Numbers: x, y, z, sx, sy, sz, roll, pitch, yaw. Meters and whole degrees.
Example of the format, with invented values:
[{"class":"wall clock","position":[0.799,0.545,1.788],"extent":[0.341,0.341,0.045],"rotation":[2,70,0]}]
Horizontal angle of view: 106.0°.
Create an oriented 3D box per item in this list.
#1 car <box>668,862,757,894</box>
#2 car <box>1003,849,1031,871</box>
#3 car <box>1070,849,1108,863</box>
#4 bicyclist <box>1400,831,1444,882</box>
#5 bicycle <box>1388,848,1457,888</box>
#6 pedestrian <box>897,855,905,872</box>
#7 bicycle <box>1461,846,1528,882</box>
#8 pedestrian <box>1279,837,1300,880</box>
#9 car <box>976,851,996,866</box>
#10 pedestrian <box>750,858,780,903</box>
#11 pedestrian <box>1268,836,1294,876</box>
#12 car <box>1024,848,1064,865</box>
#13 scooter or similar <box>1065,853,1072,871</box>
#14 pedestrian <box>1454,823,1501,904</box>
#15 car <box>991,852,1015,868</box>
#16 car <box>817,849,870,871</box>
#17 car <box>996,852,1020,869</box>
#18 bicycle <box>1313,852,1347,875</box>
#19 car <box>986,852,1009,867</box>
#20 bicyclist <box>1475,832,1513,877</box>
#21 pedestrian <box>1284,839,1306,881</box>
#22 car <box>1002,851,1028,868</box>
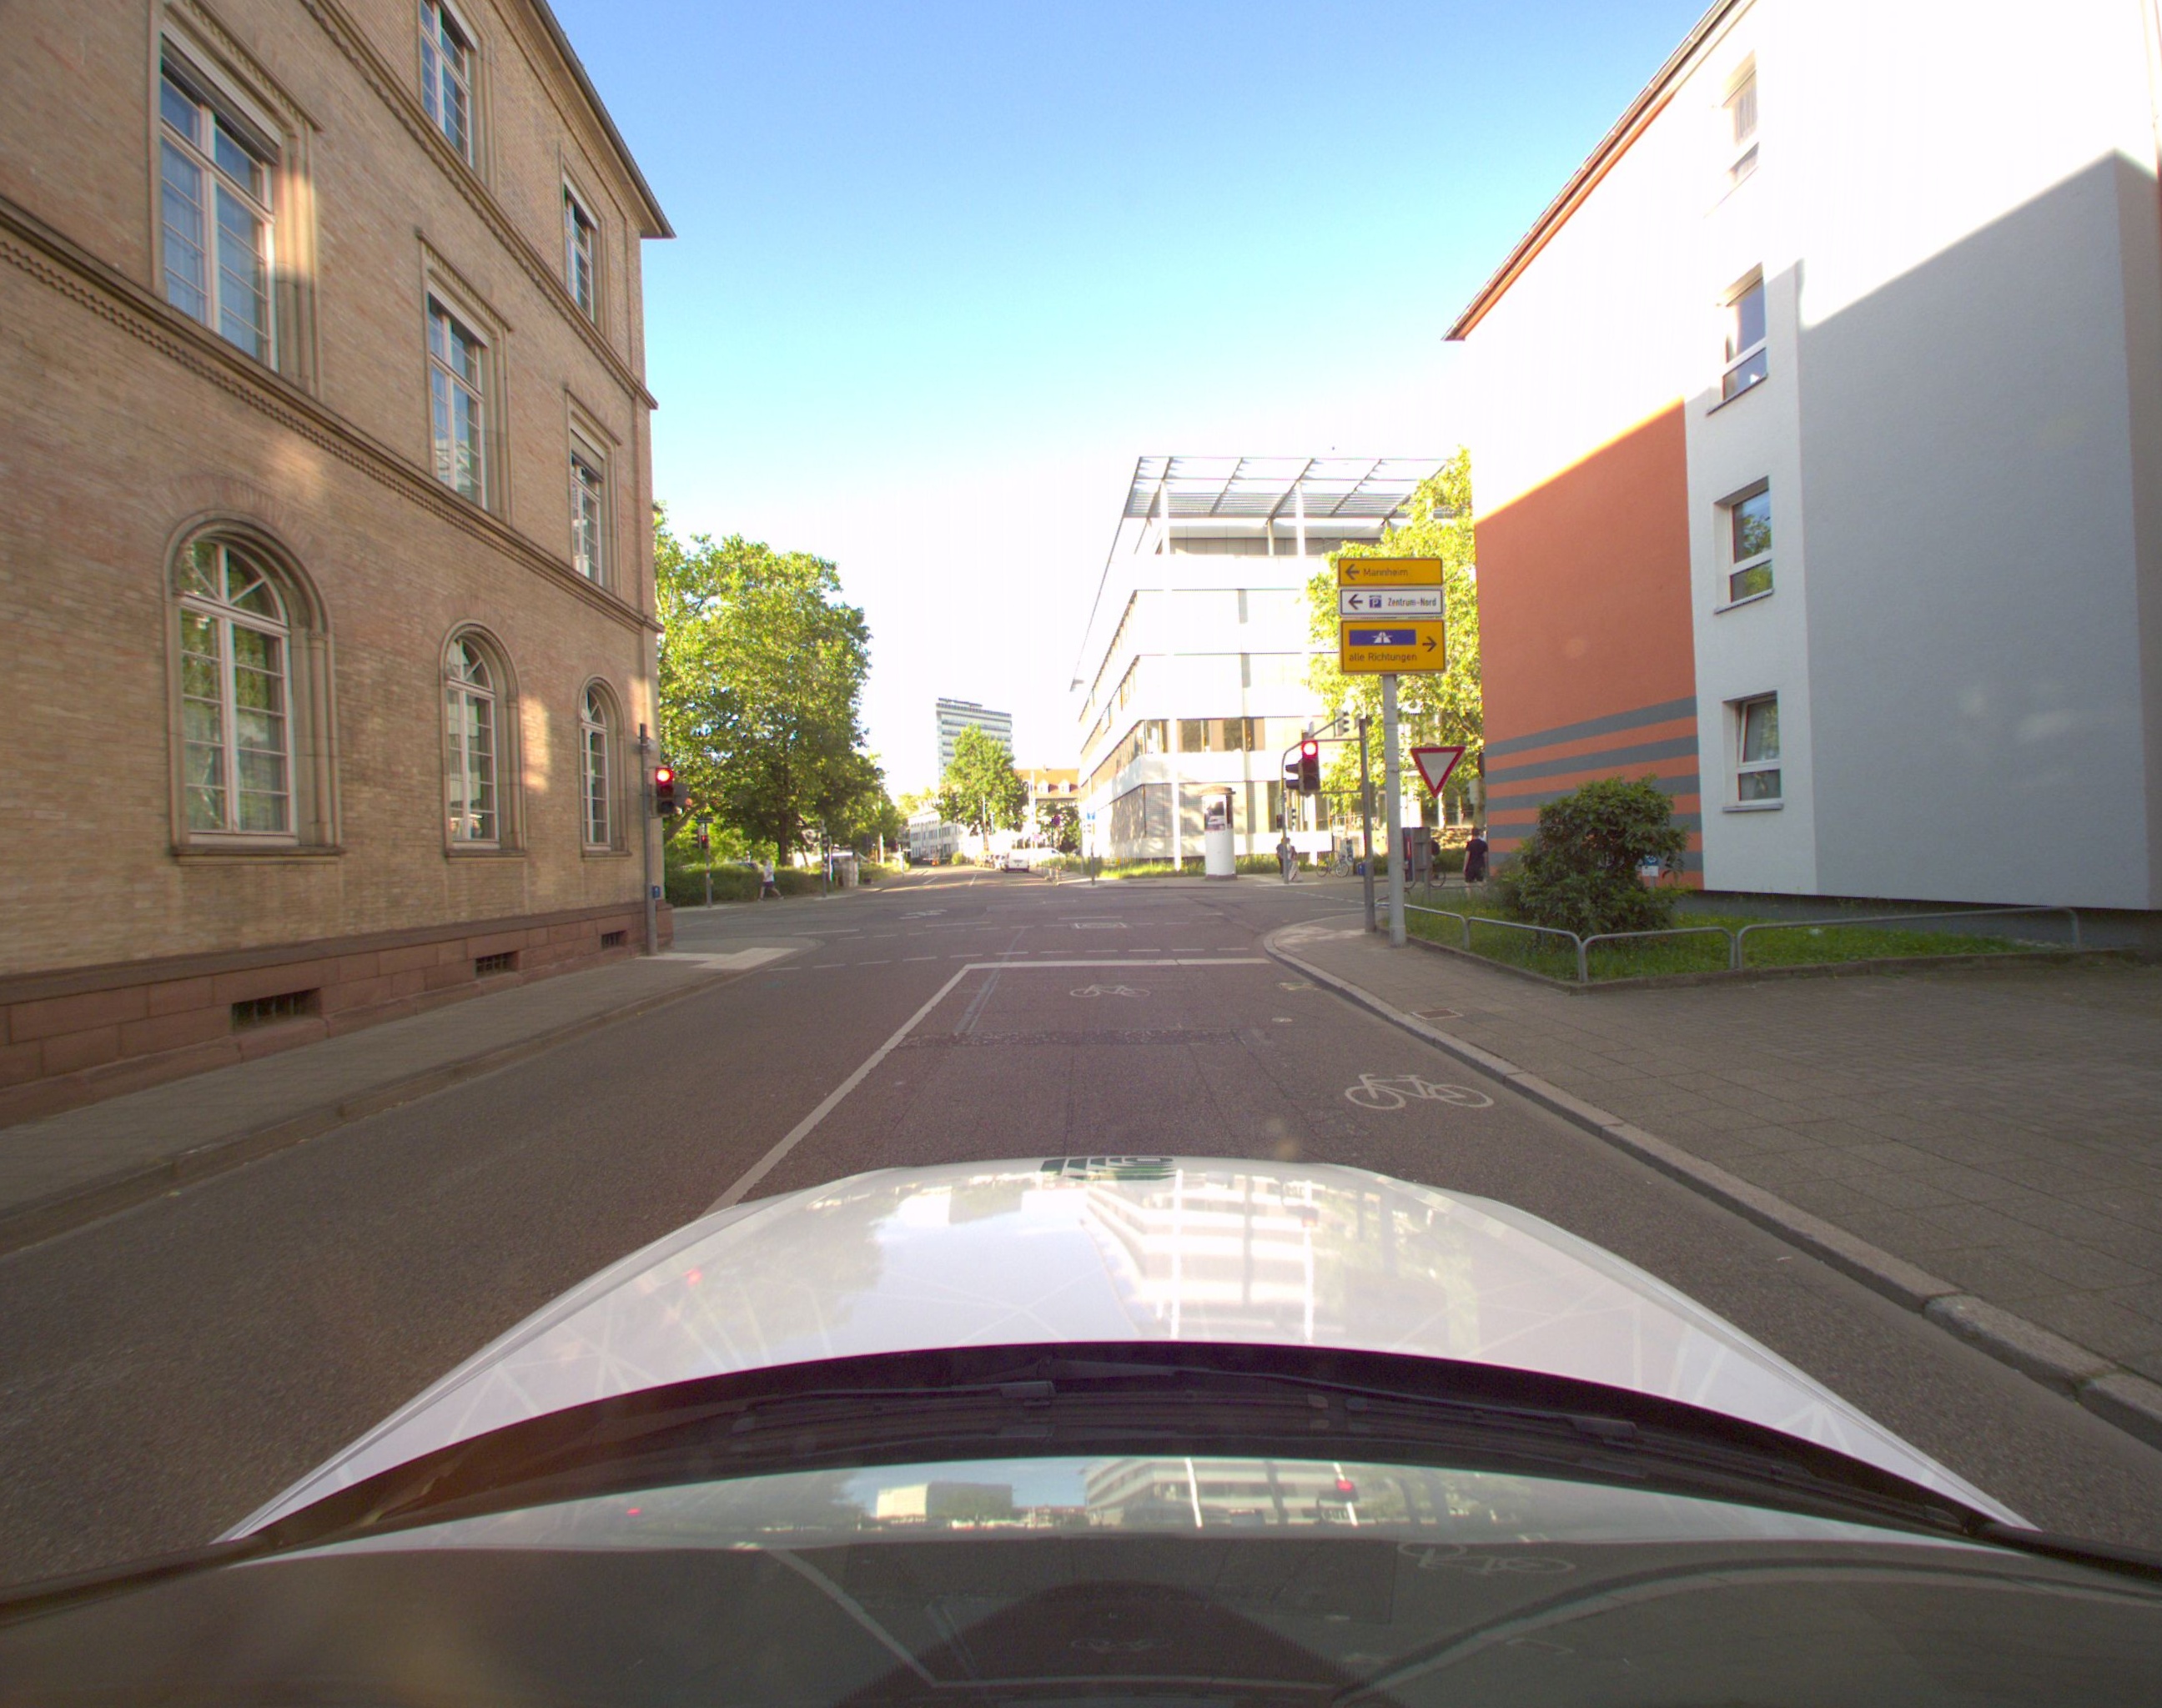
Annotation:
[{"class":"car","position":[-17.083,1.099,37.903],"extent":[3.407,1.457,1.646],"rotation":[0,-1,-8]},{"class":"car","position":[-5.170,0.480,65.118],"extent":[1.992,1.725,4.640],"rotation":[0,-1,-7]},{"class":"car","position":[1.029,0.277,104.955],"extent":[4.644,1.725,1.990],"rotation":[0,-1,-15]},{"class":"bicyclist","position":[10.665,0.068,25.485],"extent":[1.075,1.527,0.590],"rotation":[-2,0,-10]},{"class":"bicycle","position":[10.685,0.422,25.477],"extent":[1.963,1.152,0.590],"rotation":[-2,0,-10]},{"class":"pedestrian","position":[-16.389,0.850,74.222],"extent":[0.700,1.587,0.633],"rotation":[0,-1,-14]},{"class":"bicycle","position":[14.349,0.333,28.261],"extent":[1.955,1.152,0.628],"rotation":[-2,0,2]},{"class":"pedestrian","position":[8.930,0.198,34.913],"extent":[0.761,1.795,0.648],"rotation":[0,-1,4]},{"class":"car","position":[-11.295,0.557,96.303],"extent":[1.995,1.725,4.633],"rotation":[0,-1,-11]},{"class":"pedestrian","position":[-13.285,1.105,34.239],"extent":[0.733,1.869,0.922],"rotation":[-1,-1,44]},{"class":"pedestrian","position":[9.161,0.079,37.330],"extent":[0.905,1.815,0.767],"rotation":[-1,-1,36]},{"class":"car","position":[-4.677,0.294,103.249],"extent":[4.802,2.159,1.989],"rotation":[0,-1,-16]},{"class":"scooter or similar","position":[-0.911,0.592,58.475],"extent":[0.436,1.256,1.418],"rotation":[-2,0,-2]},{"class":"pedestrian","position":[9.010,0.213,18.514],"extent":[0.723,1.810,0.693],"rotation":[0,-1,-39]},{"class":"car","position":[-7.839,0.601,81.626],"extent":[1.994,1.499,4.270],"rotation":[0,-1,-11]},{"class":"car","position":[-22.021,0.544,75.769],"extent":[4.441,2.014,1.995],"rotation":[0,-1,-8]},{"class":"car","position":[-6.916,0.623,77.153],"extent":[1.993,1.499,4.638],"rotation":[0,-1,-8]},{"class":"bicycle","position":[11.006,0.431,36.025],"extent":[0.381,1.008,1.416],"rotation":[-2,0,-40]},{"class":"car","position":[-8.880,0.608,86.379],"extent":[1.994,1.499,4.635],"rotation":[0,-1,-10]},{"class":"bicyclist","position":[14.333,0.020,28.272],"extent":[0.912,1.522,0.705],"rotation":[-2,0,2]},{"class":"pedestrian","position":[8.990,0.252,34.267],"extent":[0.761,1.719,0.648],"rotation":[0,-1,4]},{"class":"car","position":[-5.844,0.493,71.352],"extent":[1.993,1.499,4.638],"rotation":[0,-1,-8]}]
